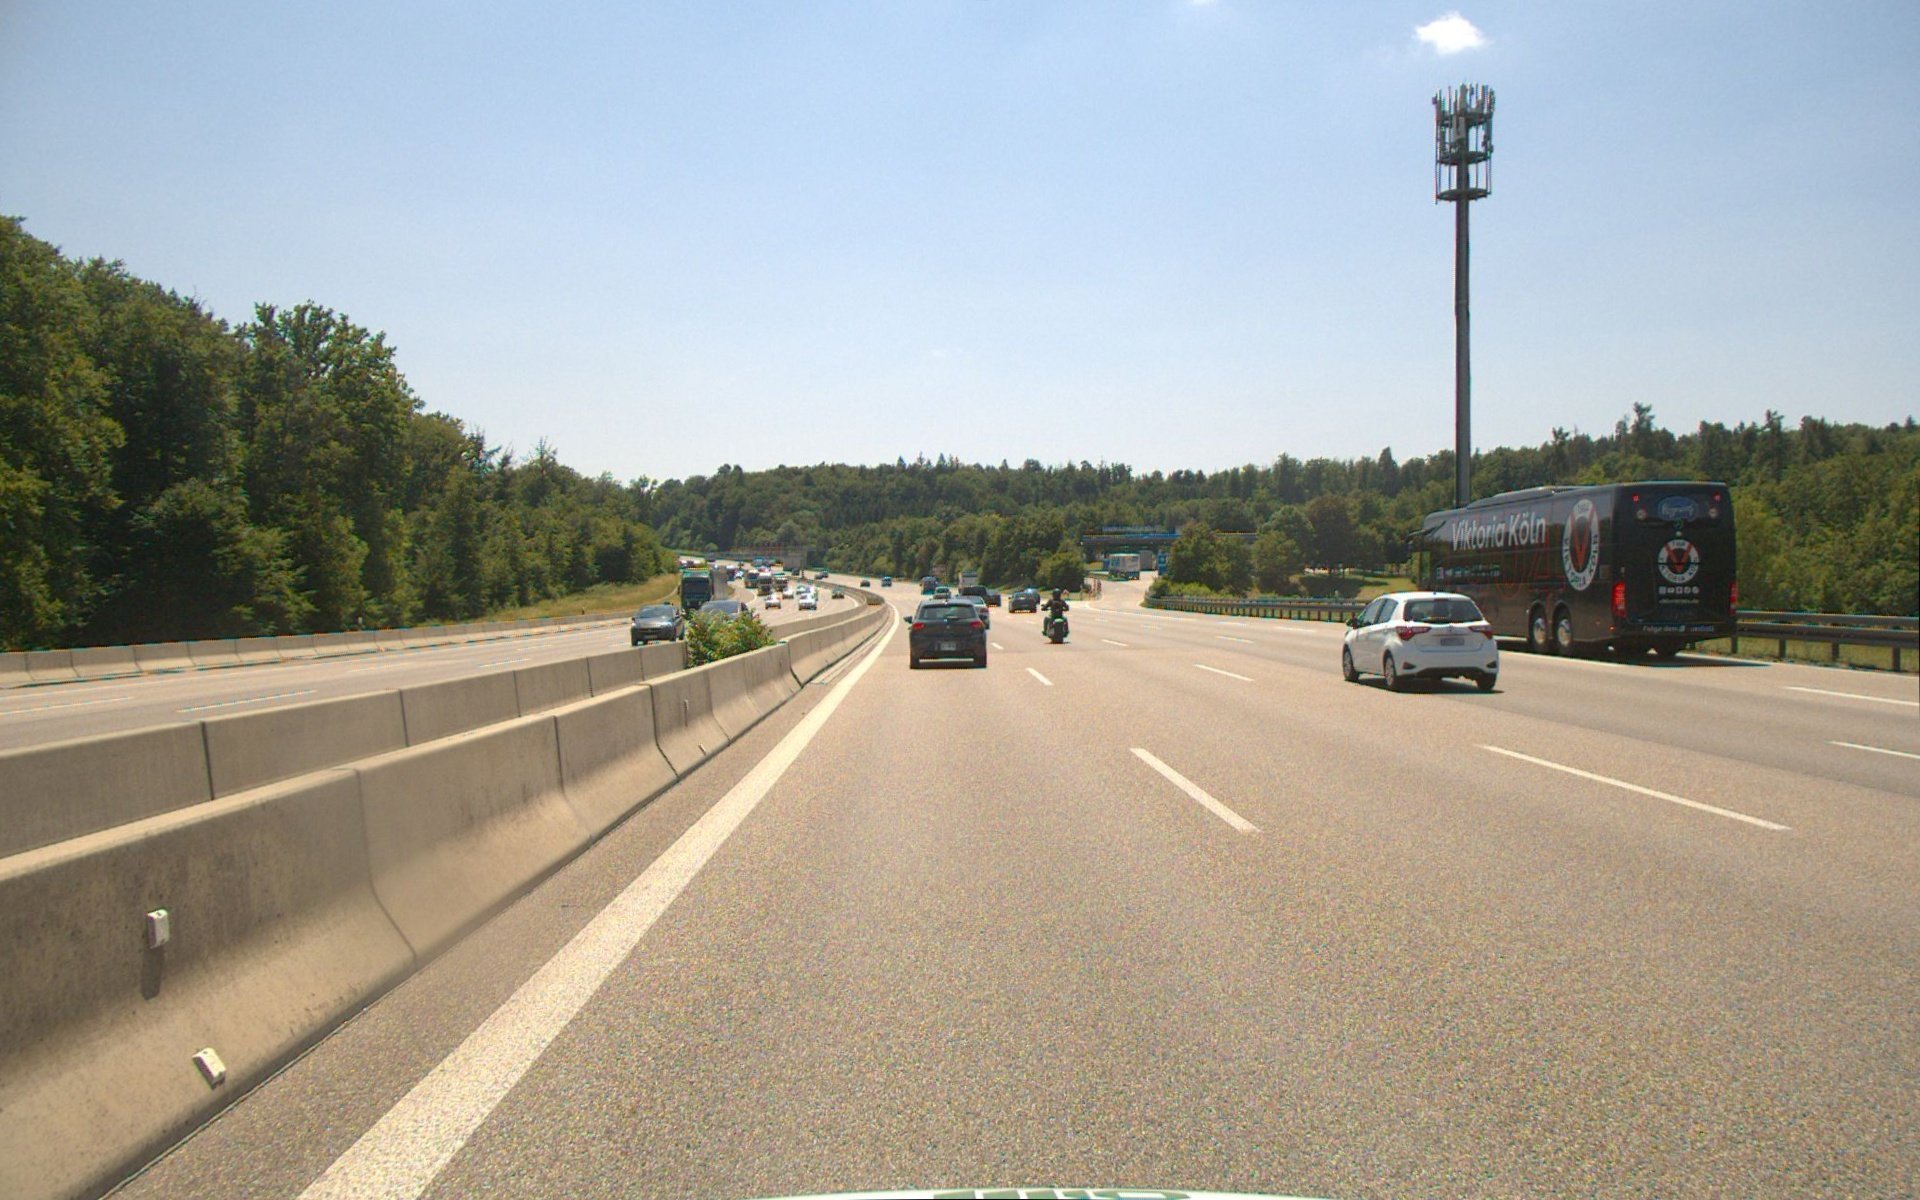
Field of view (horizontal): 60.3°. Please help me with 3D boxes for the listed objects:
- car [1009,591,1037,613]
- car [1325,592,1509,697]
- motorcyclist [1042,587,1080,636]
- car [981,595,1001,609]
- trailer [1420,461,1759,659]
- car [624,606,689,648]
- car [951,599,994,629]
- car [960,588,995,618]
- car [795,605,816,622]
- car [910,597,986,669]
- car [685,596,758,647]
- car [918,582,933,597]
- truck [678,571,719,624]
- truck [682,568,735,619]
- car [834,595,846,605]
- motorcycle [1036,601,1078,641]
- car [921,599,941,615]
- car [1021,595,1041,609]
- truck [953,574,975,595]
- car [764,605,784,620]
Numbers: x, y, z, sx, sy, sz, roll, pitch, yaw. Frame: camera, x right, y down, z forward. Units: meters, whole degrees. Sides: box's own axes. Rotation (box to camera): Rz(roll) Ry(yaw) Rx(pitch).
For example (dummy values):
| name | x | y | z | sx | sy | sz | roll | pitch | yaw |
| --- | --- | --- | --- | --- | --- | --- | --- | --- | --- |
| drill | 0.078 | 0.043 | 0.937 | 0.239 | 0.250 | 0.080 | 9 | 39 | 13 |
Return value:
| name | x | y | z | sx | sy | sz | roll | pitch | yaw |
| --- | --- | --- | --- | --- | --- | --- | --- | --- | --- |
| car | 4.423 | 0.156 | 116.433 | 1.642 | 1.456 | 3.683 | -1 | 1 | -2 |
| car | 7.340 | 0.659 | 27.012 | 1.633 | 1.458 | 4.374 | -4 | 0 | -1 |
| motorcyclist | 3.097 | 0.341 | 50.874 | 0.943 | 1.462 | 1.234 | -2 | 1 | -5 |
| car | 2.810 | 0.199 | 150.207 | 1.576 | 1.233 | 3.458 | -1 | 0 | -2 |
| trailer | 13.968 | -0.774 | 38.518 | 2.799 | 3.752 | 13.543 | -1 | 0 | 0 |
| car | -11.809 | 1.028 | 64.644 | 1.731 | 1.504 | 4.480 | -1 | 0 | -1 |
| car | 0.527 | 0.608 | 73.670 | 1.747 | 1.287 | 3.458 | -1 | 0 | -2 |
| car | 1.134 | 0.181 | 109.726 | 2.055 | 1.884 | 4.078 | -1 | 0 | -3 |
| car | -15.377 | 1.325 | 164.904 | 1.795 | 1.589 | 4.775 | -3 | 0 | -2 |
| car | -0.265 | 0.696 | 36.675 | 1.591 | 1.513 | 3.684 | 1 | 0 | 0 |
| car | -7.944 | 0.674 | 55.555 | 1.794 | 1.595 | 4.785 | -1 | 0 | -1 |
| car | -5.320 | -1.605 | 252.876 | 1.954 | 2.048 | 4.670 | 1 | 1 | -5 |
| truck | -21.213 | -0.201 | 134.391 | 2.604 | 4.096 | 5.508 | -2 | 0 | -2 |
| truck | -21.388 | -0.564 | 141.477 | 2.636 | 4.096 | 14.294 | -2 | 0 | -2 |
| car | -17.632 | 0.011 | 243.351 | 1.569 | 1.494 | 4.503 | -2 | 0 | -2 |
| motorcycle | 2.982 | 0.625 | 50.969 | 0.958 | 1.149 | 2.269 | -1 | 1 | -5 |
| car | -2.342 | 0.525 | 131.952 | 1.505 | 1.233 | 3.458 | -1 | 0 | -2 |
| car | 6.651 | 0.166 | 154.693 | 1.576 | 1.233 | 3.458 | -1 | 0 | -2 |
| truck | 0.529 | -2.259 | 235.720 | 2.673 | 2.834 | 5.678 | 1 | 1 | -5 |
| car | -20.625 | 1.417 | 183.135 | 1.835 | 1.561 | 4.134 | -2 | 0 | -2 |
